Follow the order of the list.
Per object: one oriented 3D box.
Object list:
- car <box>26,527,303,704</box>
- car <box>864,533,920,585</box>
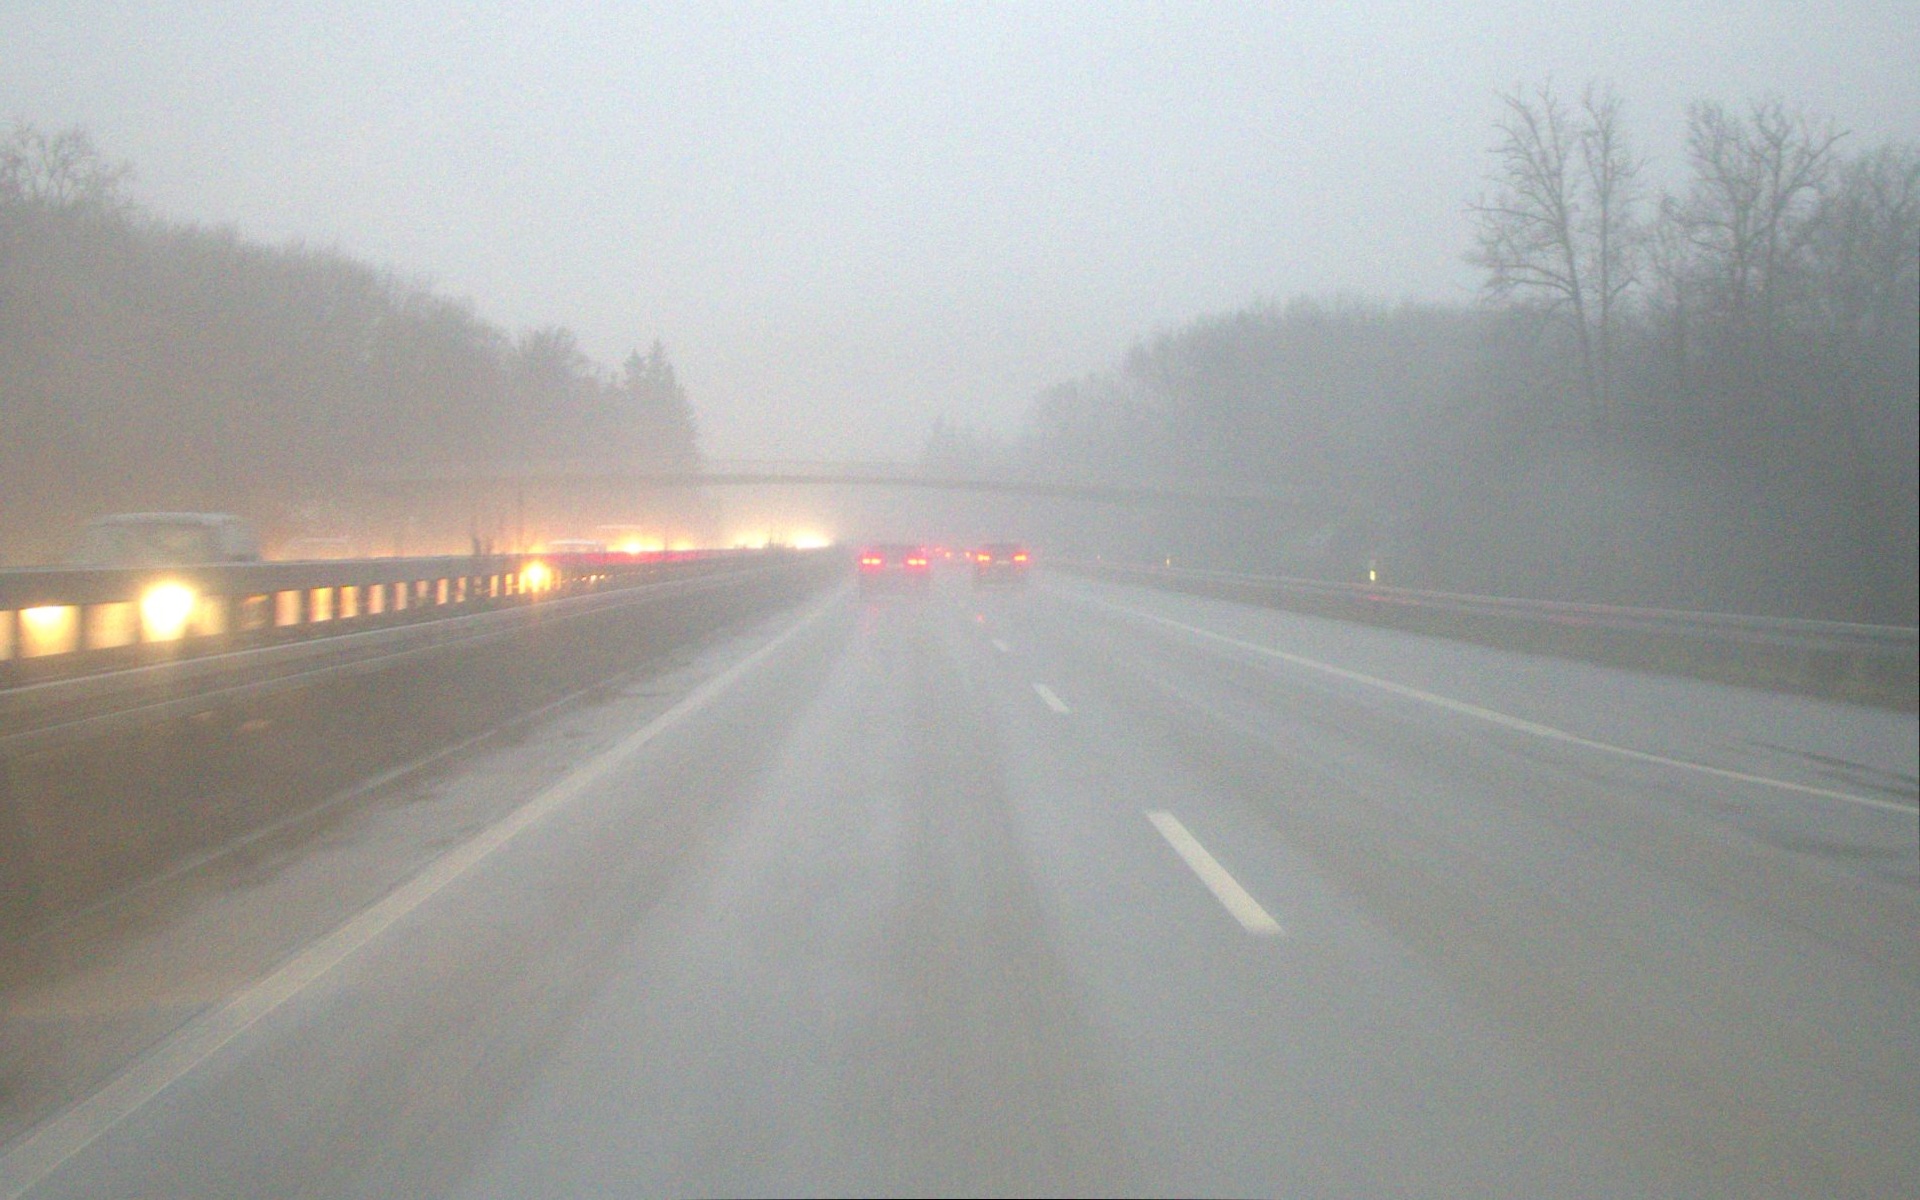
[{"bbox_3d":[-7.849,0.110,34.312,1.727,1.583,4.417,2,1,-1],"label":"car"},{"bbox_3d":[-1.804,-1.087,91.535,1.454,1.339,3.490,0,1,-1],"label":"car"}]
